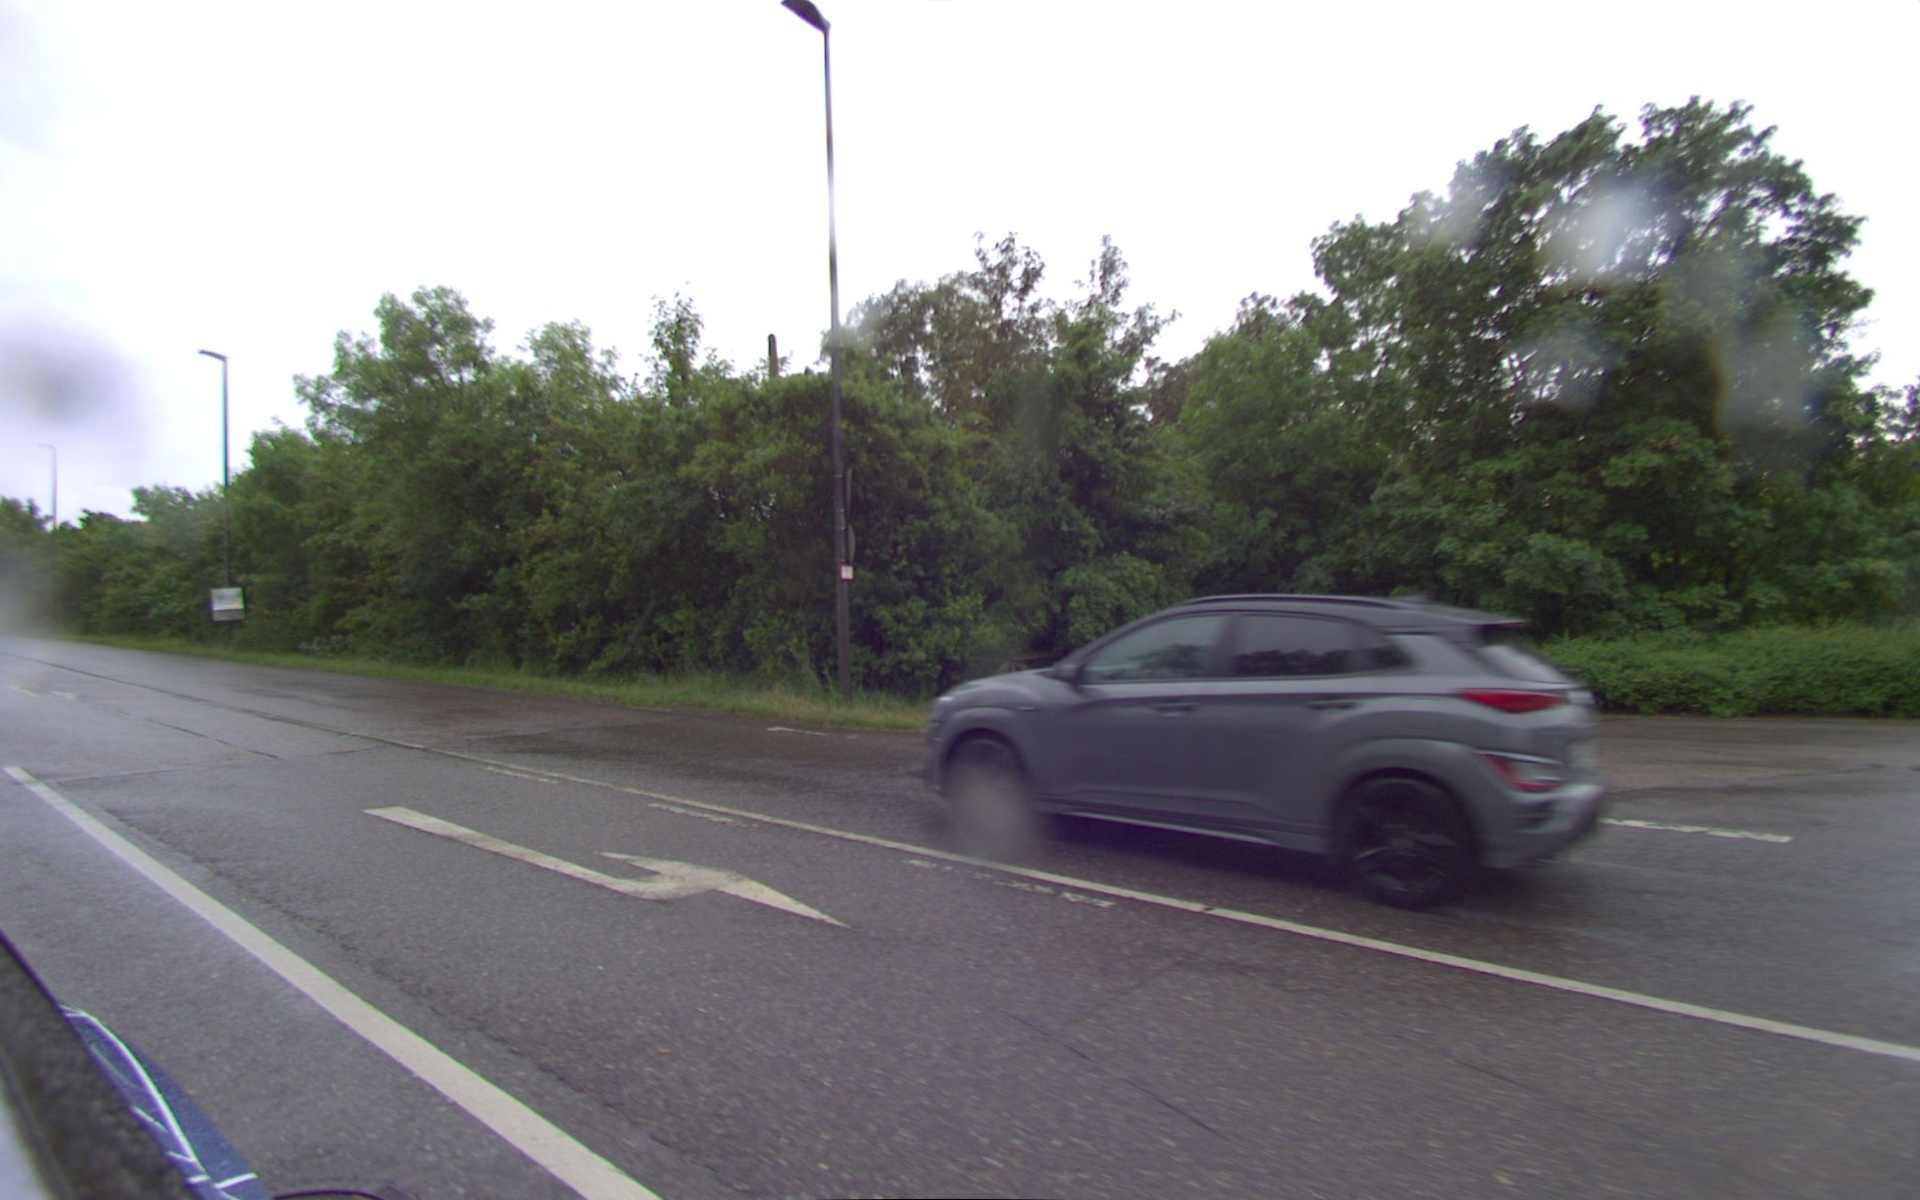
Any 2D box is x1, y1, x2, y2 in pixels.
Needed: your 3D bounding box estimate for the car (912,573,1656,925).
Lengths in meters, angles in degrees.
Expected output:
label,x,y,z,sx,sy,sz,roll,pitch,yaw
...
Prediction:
label,x,y,z,sx,sy,sz,roll,pitch,yaw
car,1.737,0.654,6.154,3.995,1.481,1.623,-1,-1,39
